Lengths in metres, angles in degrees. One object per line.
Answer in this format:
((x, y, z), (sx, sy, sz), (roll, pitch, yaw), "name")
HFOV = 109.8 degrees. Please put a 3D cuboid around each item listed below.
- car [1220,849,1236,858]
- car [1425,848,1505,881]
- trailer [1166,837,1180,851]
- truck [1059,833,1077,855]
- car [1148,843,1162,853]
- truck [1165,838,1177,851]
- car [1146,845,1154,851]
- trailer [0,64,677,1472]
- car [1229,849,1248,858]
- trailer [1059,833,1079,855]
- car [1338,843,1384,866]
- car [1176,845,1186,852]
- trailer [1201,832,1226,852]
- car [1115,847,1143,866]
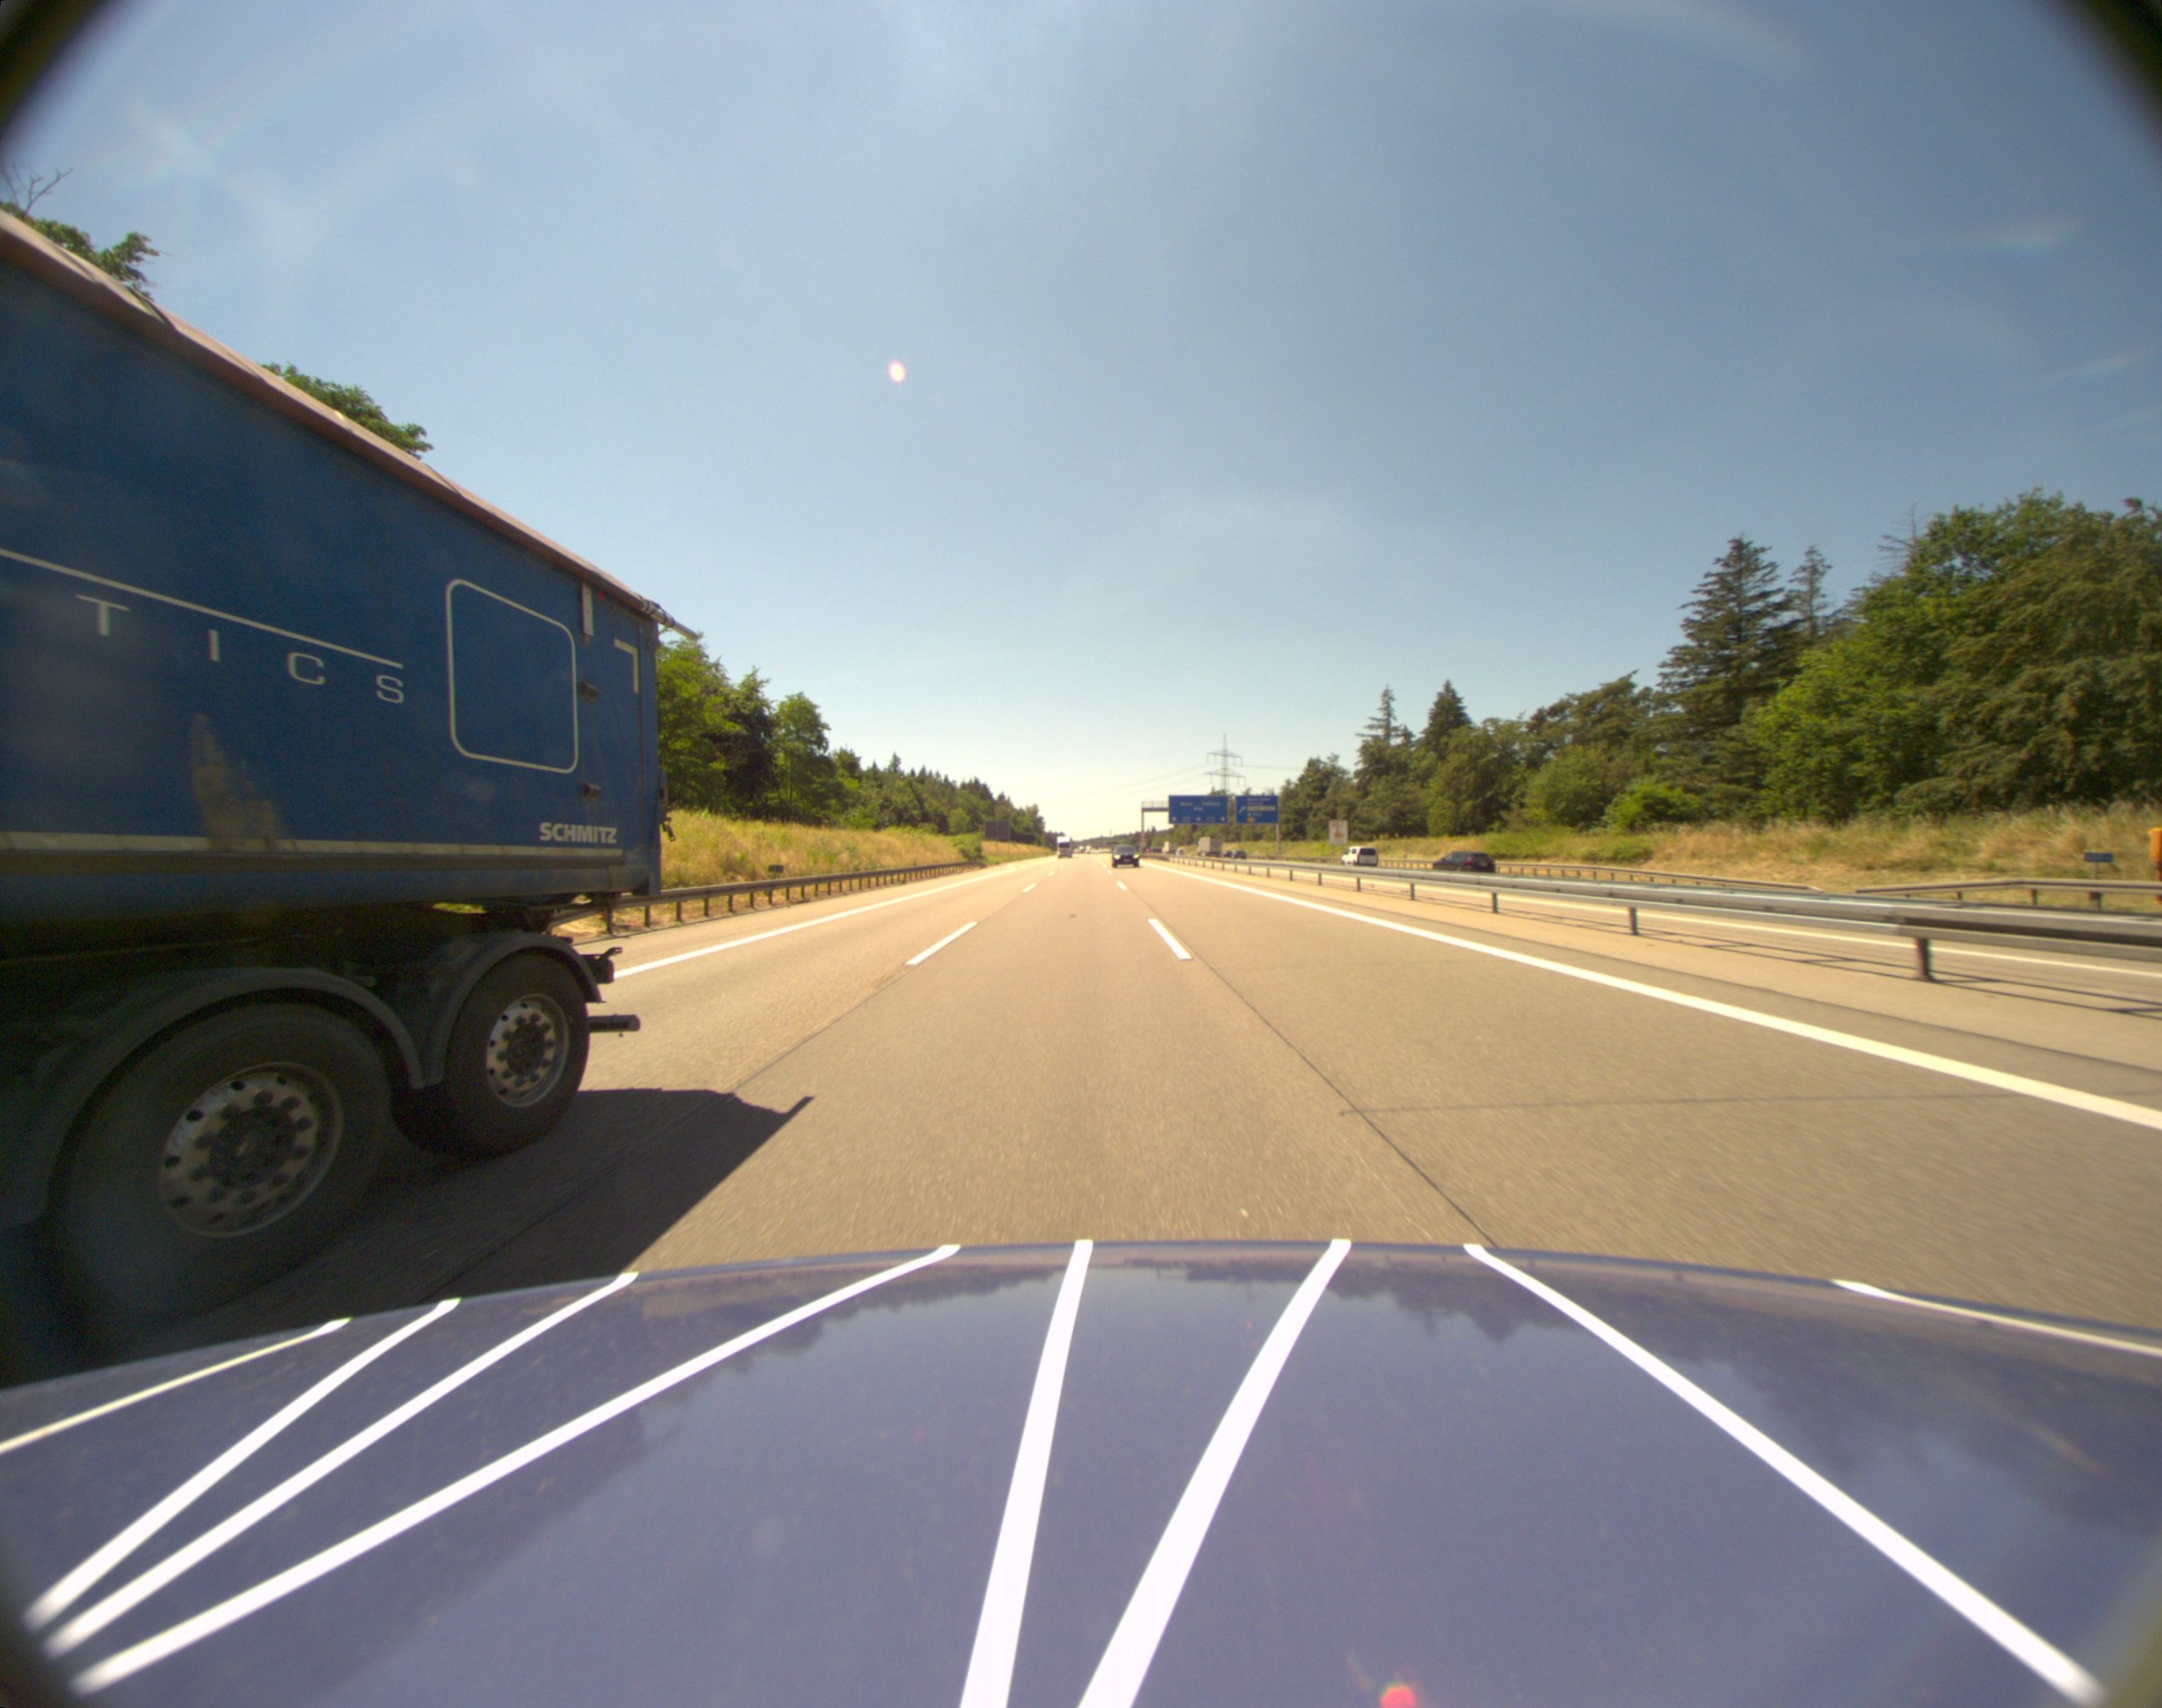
((26.504, -0.156, 137.088), (2.091, 1.455, 4.941), (0, 2, 1), "car")
((21.459, 0.518, 42.743), (1.998, 1.694, 4.978), (1, 1, 1), "car")
((28.255, -3.059, 233.859), (3.222, 4.019, 14.361), (-1, 1, 2), "trailer")
((-2.502, -1.868, 143.043), (2.979, 4.118, 5.349), (-1, 0, 3), "truck")
((14.420, -1.153, 148.675), (2.285, 1.929, 4.942), (0, 1, 1), "car")
((28.546, -3.119, 240.010), (3.222, 3.995, 6.215), (-1, 1, 2), "truck")
((19.917, -1.795, 220.234), (1.851, 1.601, 4.921), (-2, 1, 1), "car")
((-4.262, -0.219, 0.635), (2.743, 3.737, 9.109), (-1, 0, 1), "trailer")
((24.466, -0.072, 118.012), (1.931, 1.455, 4.942), (0, 1, 1), "car")
((-2.220, -1.888, 148.488), (2.982, 4.118, 11.698), (-1, 0, 3), "trailer")
((22.802, 0.007, 62.101), (1.998, 1.817, 4.642), (1, 1, 1), "car")
((26.991, -1.462, 205.500), (1.998, 1.739, 4.990), (-2, 1, 0), "car")
((27.665, -2.429, 159.373), (3.175, 3.908, 13.964), (-2, 1, 3), "trailer")
((3.692, 0.167, 59.421), (1.899, 1.417, 4.261), (-2, 0, 0), "car")
